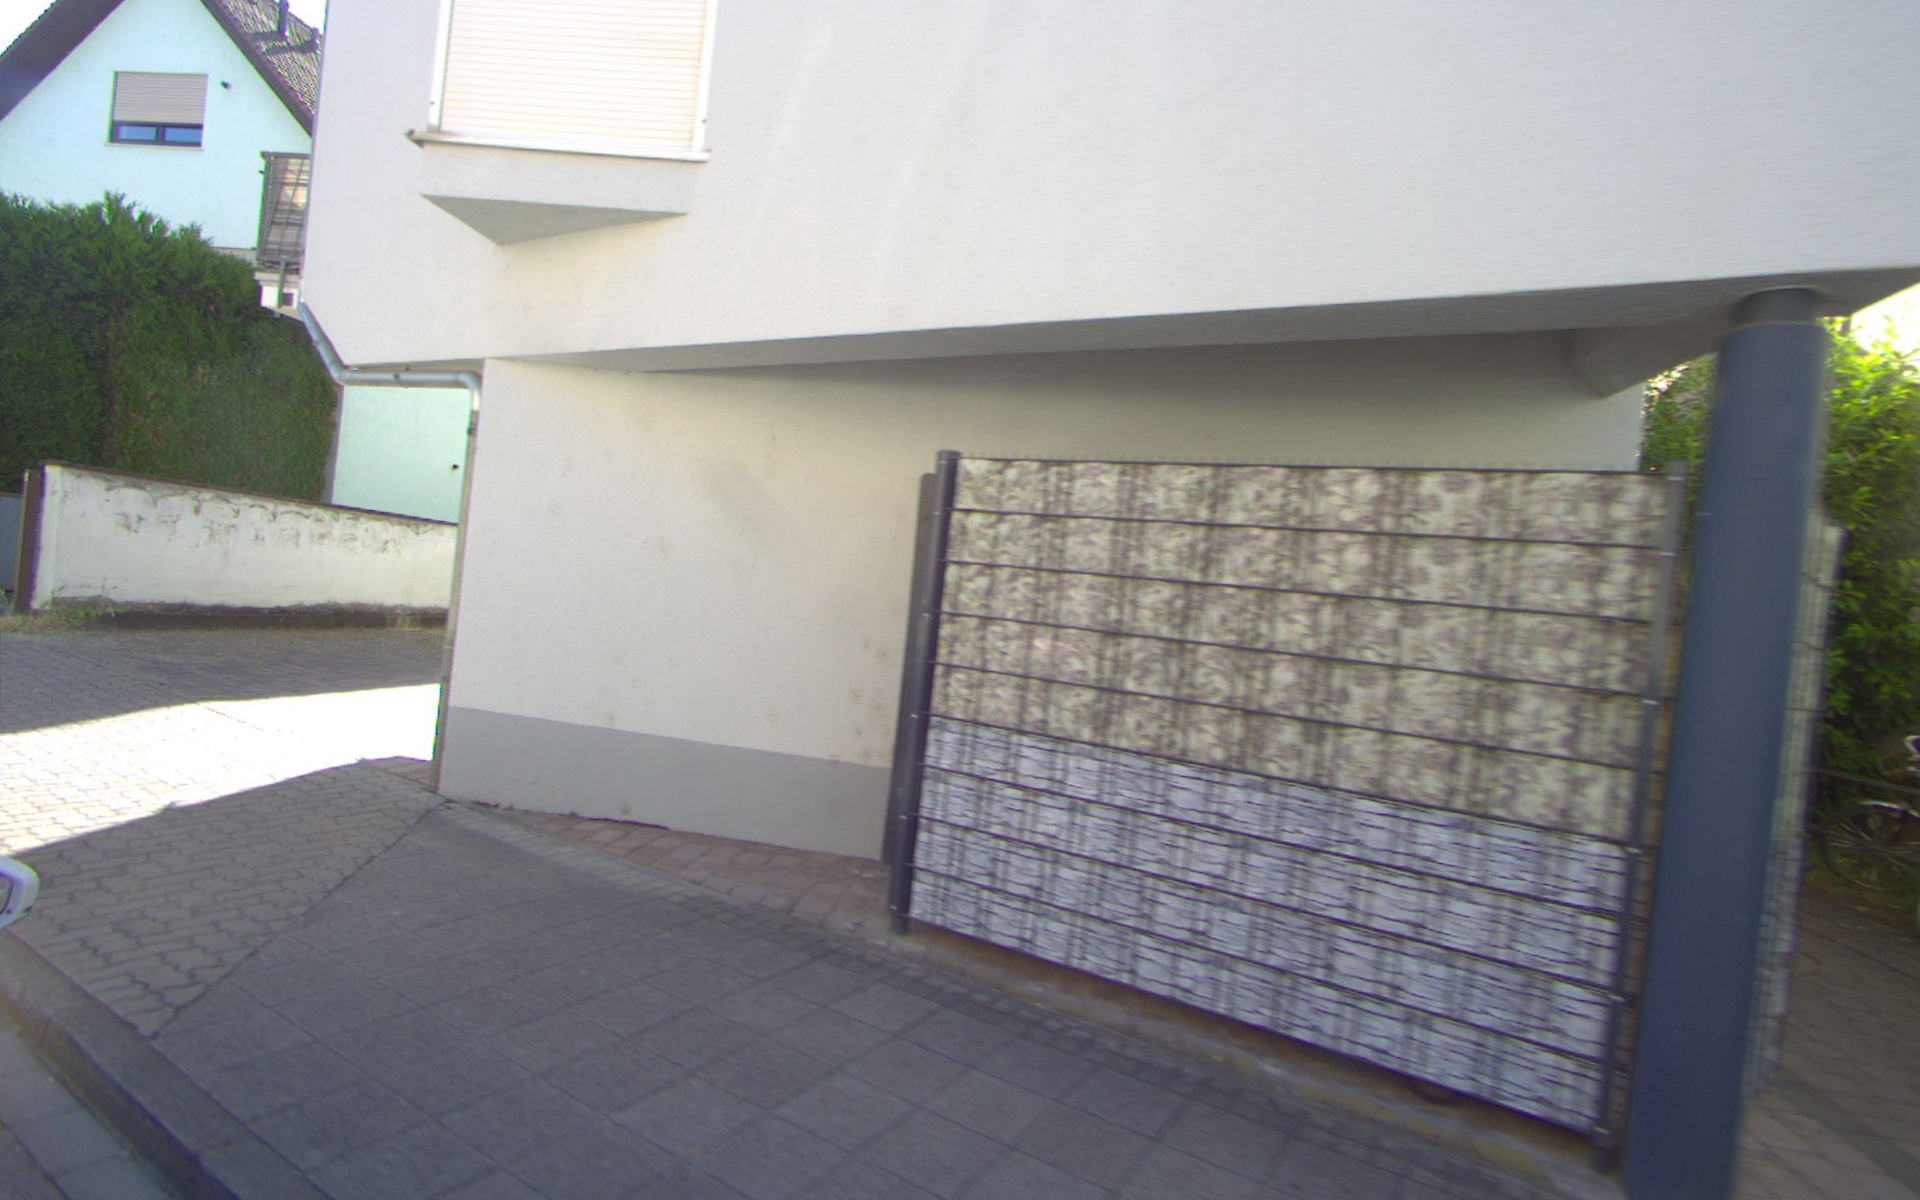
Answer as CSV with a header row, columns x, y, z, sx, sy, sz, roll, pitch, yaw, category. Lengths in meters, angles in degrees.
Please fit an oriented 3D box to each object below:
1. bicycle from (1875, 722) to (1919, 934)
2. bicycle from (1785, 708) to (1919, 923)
x,y,z,sx,sy,sz,roll,pitch,yaw,category
5.708,1.337,5.028,0.688,1.166,1.806,6,1,9,bicycle
6.139,1.381,6.119,0.688,1.166,1.806,6,1,3,bicycle
